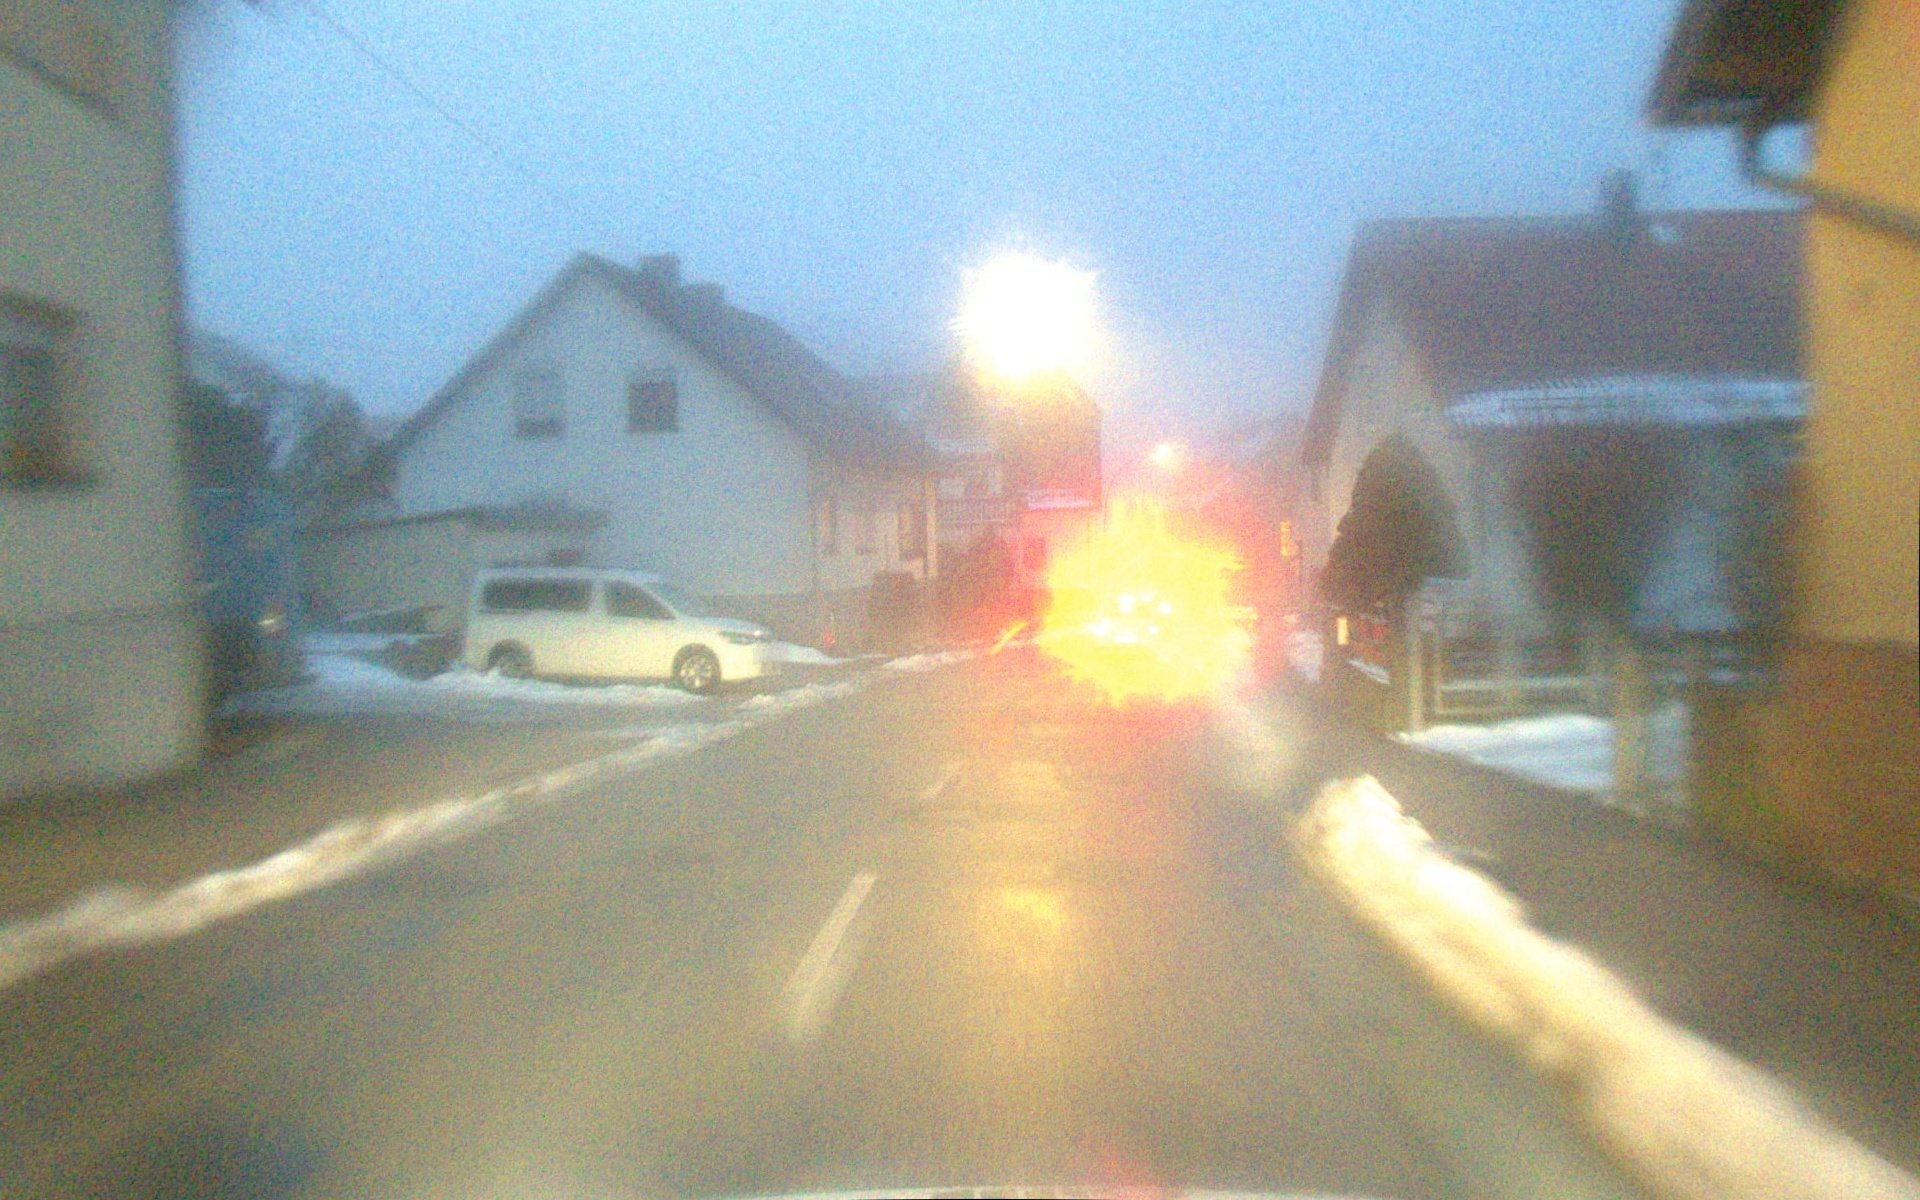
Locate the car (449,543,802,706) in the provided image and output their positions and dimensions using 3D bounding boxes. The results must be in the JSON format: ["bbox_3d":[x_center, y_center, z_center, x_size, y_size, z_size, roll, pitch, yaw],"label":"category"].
[{"bbox_3d":[-4.939,0.342,24.715,4.631,2.048,2.003,-3,3,13],"label":"car"}]

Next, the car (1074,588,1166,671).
[{"bbox_3d":[3.849,0.650,39.299,1.951,1.533,4.005,-3,4,8],"label":"car"}]

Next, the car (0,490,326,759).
[{"bbox_3d":[-8.514,0.209,16.350,3.927,2.316,1.990,-5,4,-19],"label":"car"}]

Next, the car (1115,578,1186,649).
[{"bbox_3d":[6.170,0.412,53.254,1.951,1.869,4.006,-3,4,10],"label":"car"}]

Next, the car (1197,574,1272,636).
[{"bbox_3d":[9.551,0.148,57.295,2.203,1.667,4.856,-3,4,13],"label":"car"}]
